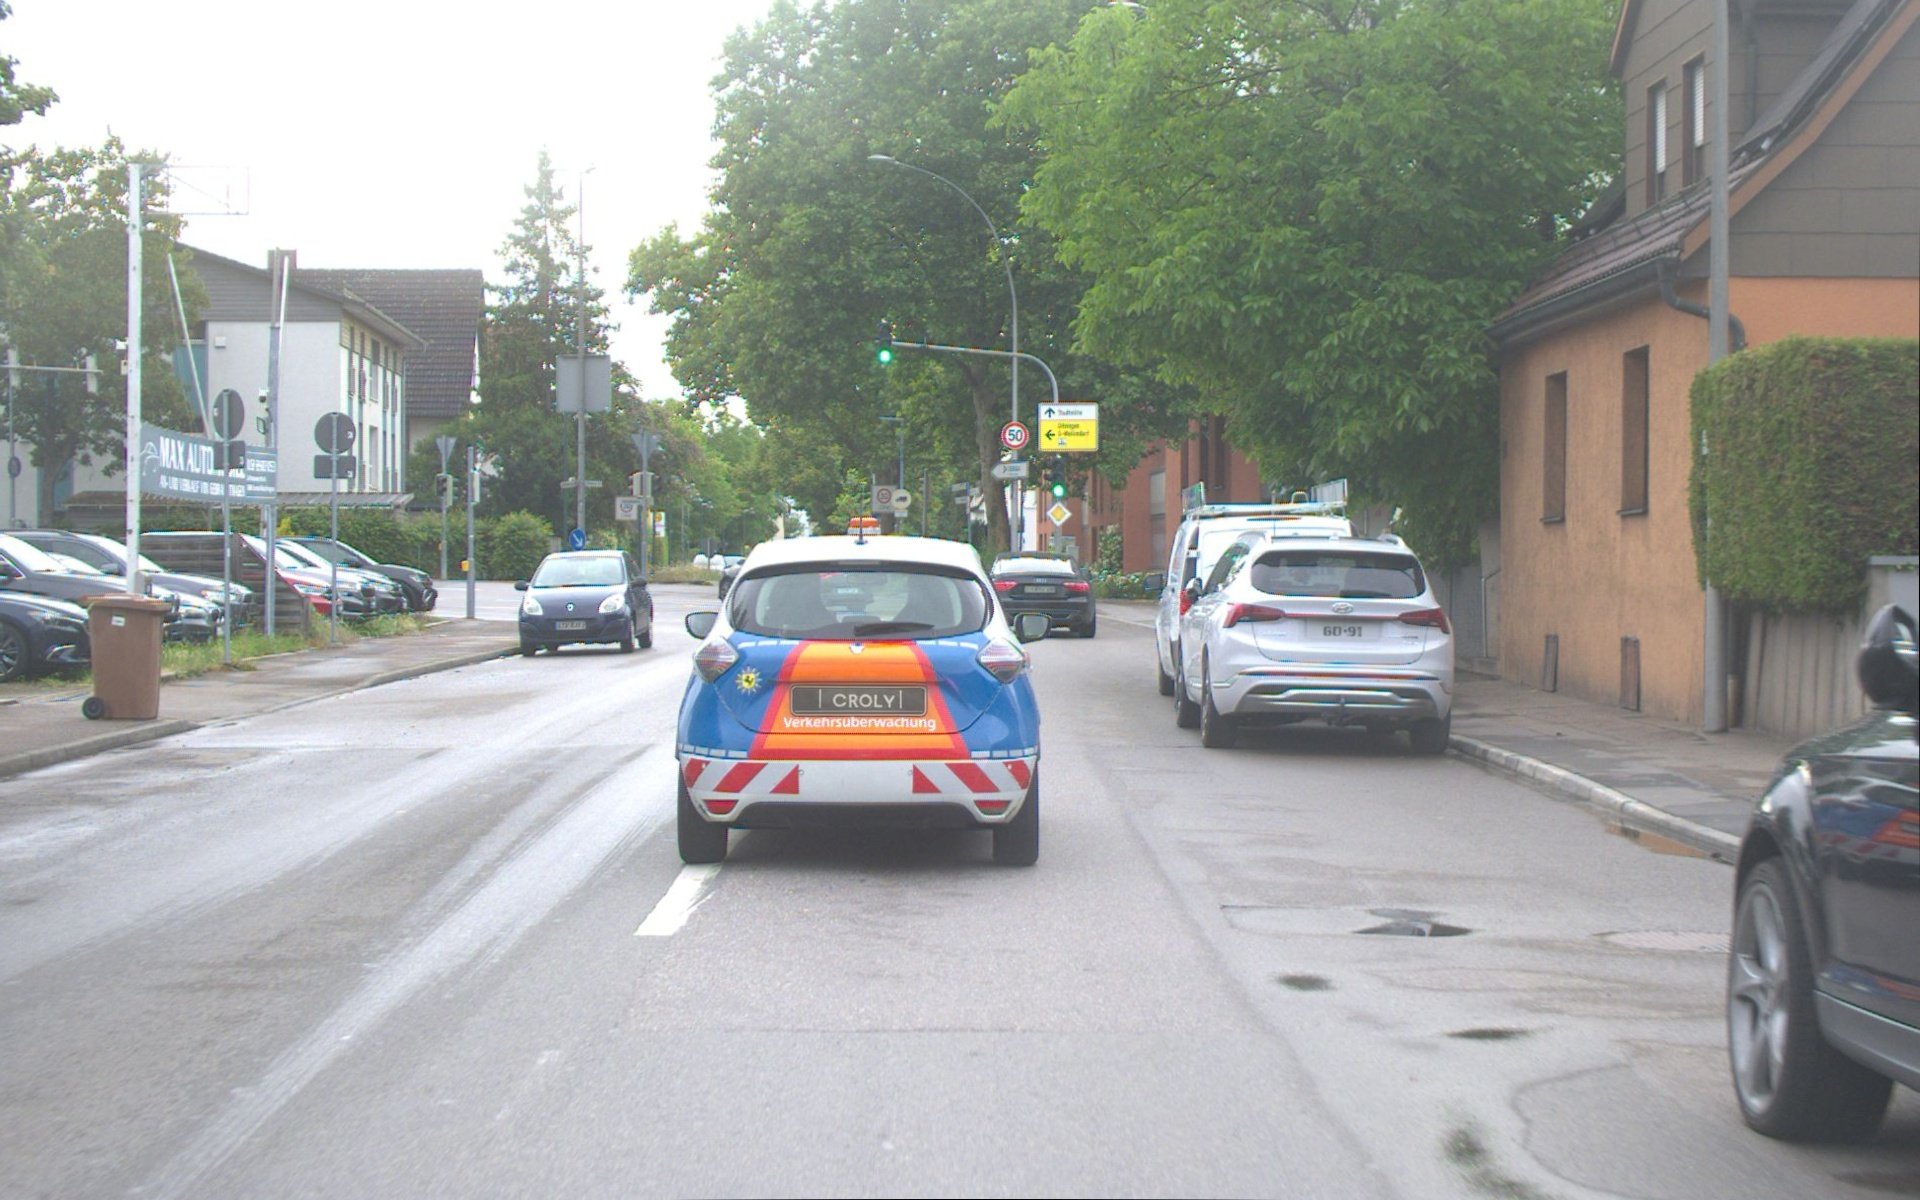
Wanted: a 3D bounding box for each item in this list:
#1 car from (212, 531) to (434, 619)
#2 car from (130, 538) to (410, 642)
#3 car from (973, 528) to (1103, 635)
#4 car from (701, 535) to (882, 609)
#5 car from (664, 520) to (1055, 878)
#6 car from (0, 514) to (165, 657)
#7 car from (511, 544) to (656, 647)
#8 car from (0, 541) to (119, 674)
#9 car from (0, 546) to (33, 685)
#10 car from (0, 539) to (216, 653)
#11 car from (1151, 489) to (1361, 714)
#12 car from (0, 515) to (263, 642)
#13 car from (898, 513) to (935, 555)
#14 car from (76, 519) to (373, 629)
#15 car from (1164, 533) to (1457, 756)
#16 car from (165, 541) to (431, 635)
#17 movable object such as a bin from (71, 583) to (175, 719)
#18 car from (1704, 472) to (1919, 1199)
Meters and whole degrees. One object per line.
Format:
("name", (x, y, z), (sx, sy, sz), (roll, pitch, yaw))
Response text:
("car", (-11.752, -0.471, 63.494), (3.945, 1.525, 1.623), (1, 2, -10))
("car", (-10.834, -0.172, 54.149), (3.987, 1.538, 1.803), (1, 1, 2))
("car", (1.288, -0.336, 55.552), (1.994, 1.568, 4.000), (1, 2, 2))
("car", (-3.596, -0.607, 72.789), (1.794, 1.423, 3.999), (0, 3, -39))
("car", (-0.476, 0.401, 17.505), (1.746, 1.575, 4.001), (-1, 2, -1))
("car", (-12.045, -0.196, 41.631), (4.347, 1.685, 2.059), (0, 1, 0))
("car", (-5.460, -0.094, 50.227), (1.626, 1.428, 3.683), (0, 1, 1))
("car", (-11.948, 0.059, 38.958), (4.347, 1.459, 1.941), (0, 1, 0))
("car", (-12.106, 0.155, 36.553), (3.987, 1.459, 1.839), (0, 1, 0))
("car", (-11.961, -0.072, 44.233), (4.347, 1.427, 1.959), (0, 1, 0))
("car", (2.857, -0.062, 34.017), (1.778, 2.022, 4.754), (1, 2, 2))
("car", (-11.848, -0.313, 46.730), (4.347, 1.684, 1.959), (0, 1, 0))
("car", (-2.164, -3.256, 169.111), (1.643, 2.010, 3.716), (1, 2, -3))
("car", (-10.888, -0.405, 51.055), (3.987, 1.538, 1.803), (1, 1, 2))
("car", (2.761, 0.293, 27.980), (1.865, 1.659, 4.320), (0, 1, -1))
("car", (-10.888, -0.215, 56.694), (3.987, 1.436, 1.803), (1, 1, 2))
("movable object such as a bin", (-7.127, 0.425, 29.292), (0.708, 1.126, 0.735), (1, 1, 0))
("car", (3.101, 0.589, 6.993), (2.091, 1.656, 4.559), (1, 2, -1))
